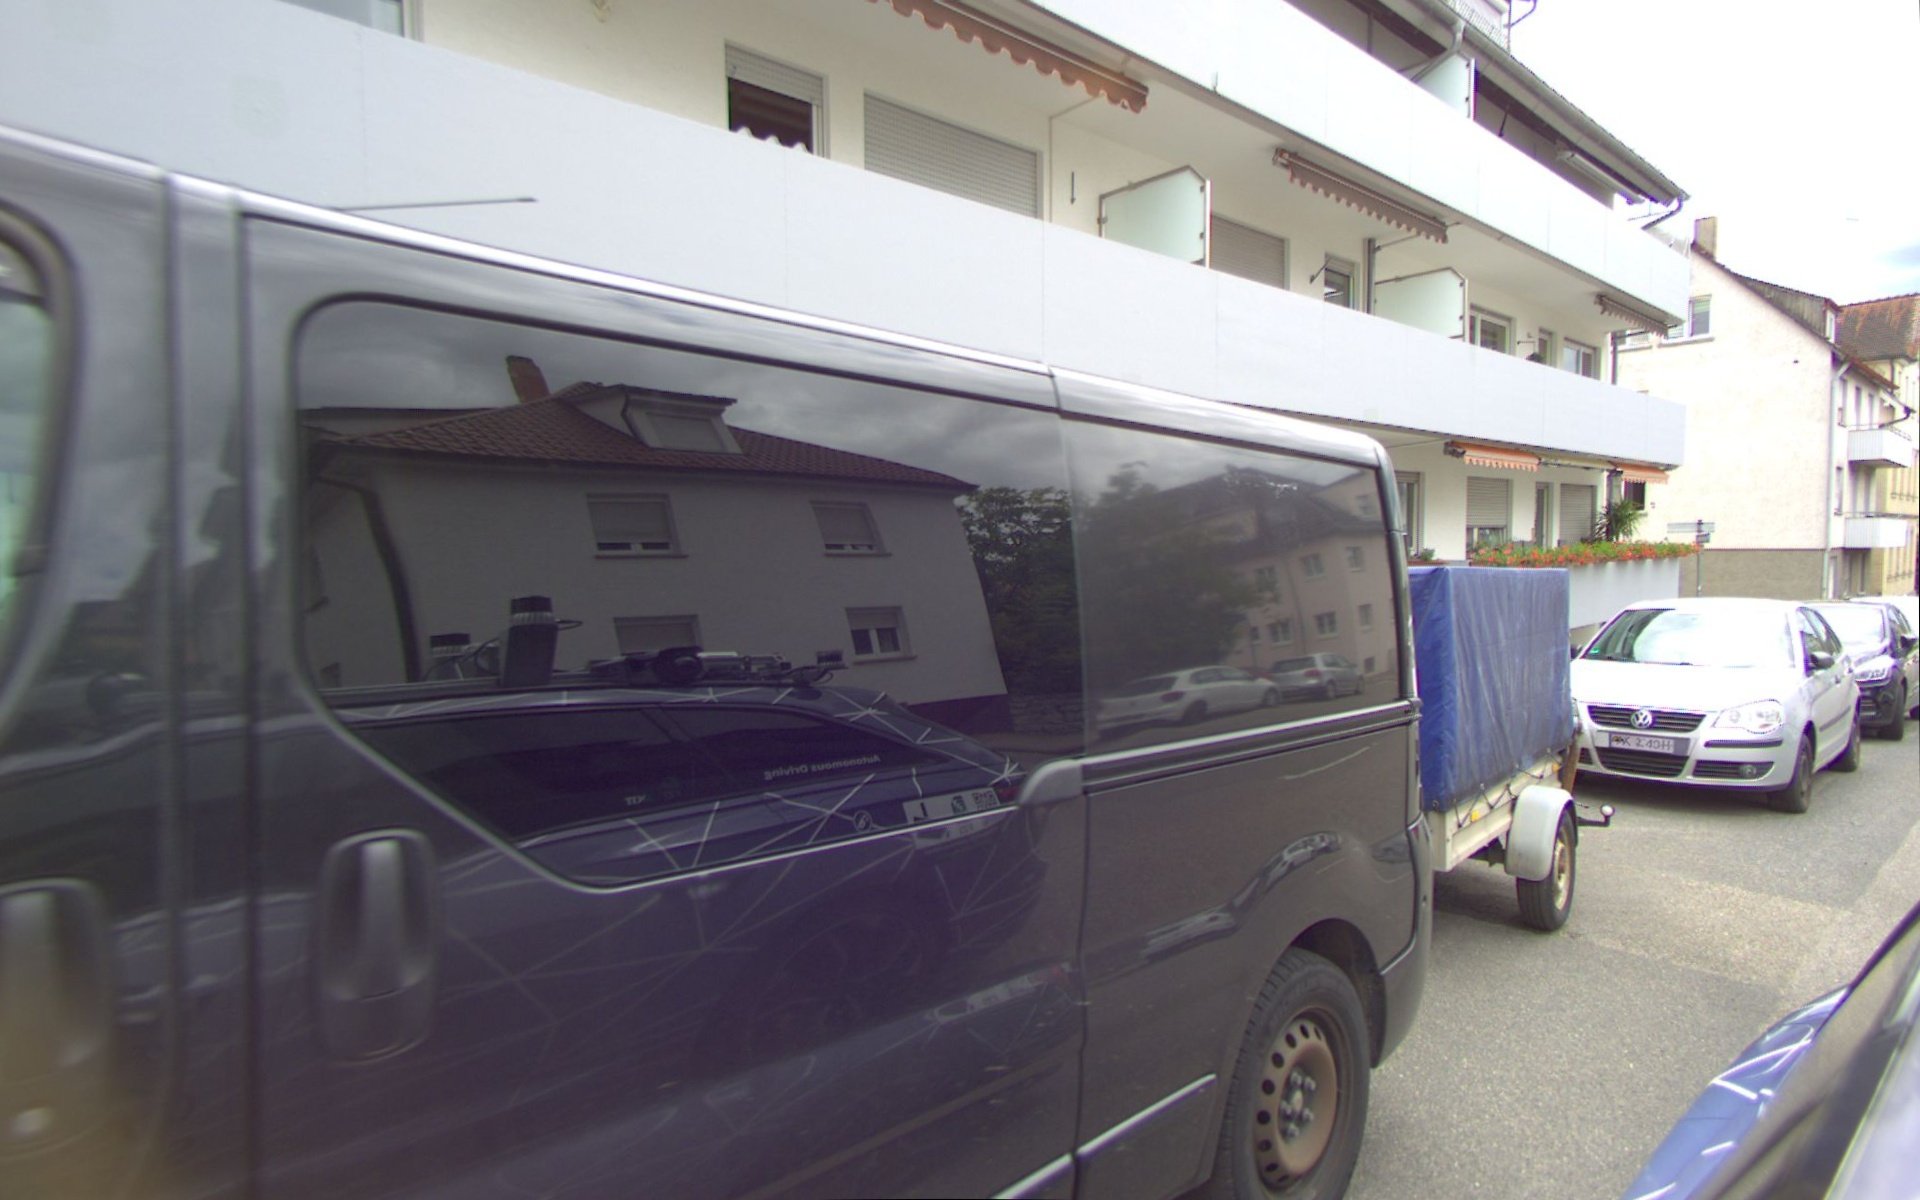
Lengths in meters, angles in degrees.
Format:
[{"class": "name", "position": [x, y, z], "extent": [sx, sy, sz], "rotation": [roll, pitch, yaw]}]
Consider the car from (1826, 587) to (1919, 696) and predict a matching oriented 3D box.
[{"class": "car", "position": [14.288, 0.556, 15.124], "extent": [3.256, 1.473, 1.612], "rotation": [-1, 1, -41]}]

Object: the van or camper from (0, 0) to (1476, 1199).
[{"class": "van or camper", "position": [-1.112, 0.405, 1.855], "extent": [4.977, 2.039, 1.996], "rotation": [-1, 0, -42]}]

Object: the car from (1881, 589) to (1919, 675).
[{"class": "car", "position": [17.543, 0.519, 17.820], "extent": [3.536, 1.423, 1.583], "rotation": [-1, 1, -41]}]

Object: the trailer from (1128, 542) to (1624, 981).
[{"class": "trailer", "position": [2.246, 0.564, 5.166], "extent": [1.422, 1.587, 2.790], "rotation": [0, 1, 44]}]

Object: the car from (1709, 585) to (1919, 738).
[{"class": "car", "position": [10.134, 0.571, 11.705], "extent": [3.793, 1.473, 1.612], "rotation": [-1, 1, -41]}]

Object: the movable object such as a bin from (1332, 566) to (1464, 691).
[{"class": "movable object such as a bin", "position": [5.444, 0.316, 12.589], "extent": [1.238, 1.455, 1.082], "rotation": [-1, 0, -41]}]

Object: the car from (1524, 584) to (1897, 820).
[{"class": "car", "position": [6.350, 0.612, 8.367], "extent": [4.259, 1.473, 1.612], "rotation": [-1, 1, -41]}]
